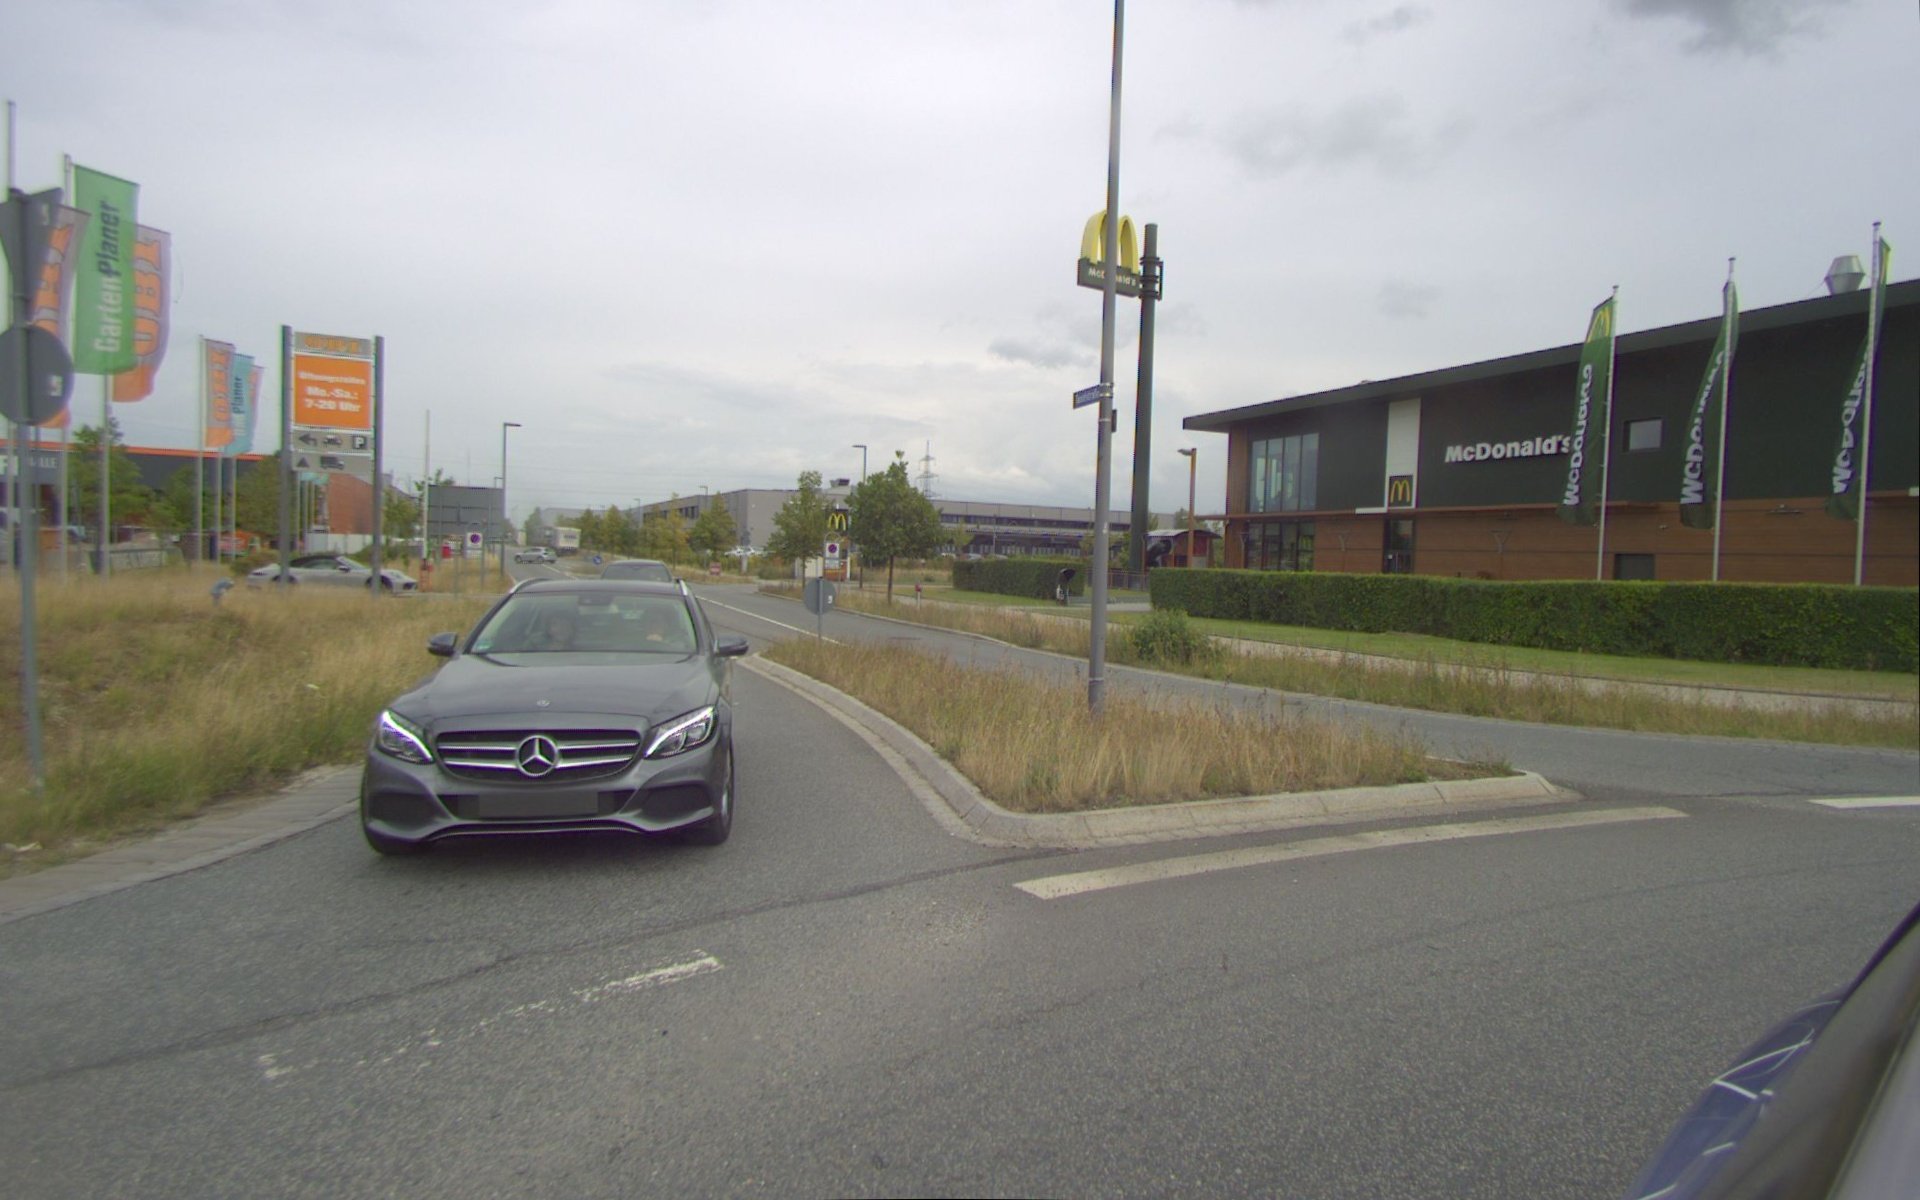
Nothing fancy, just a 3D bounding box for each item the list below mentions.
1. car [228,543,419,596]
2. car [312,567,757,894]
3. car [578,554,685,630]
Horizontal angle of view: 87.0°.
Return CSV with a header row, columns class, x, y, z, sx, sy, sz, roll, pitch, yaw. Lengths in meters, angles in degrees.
class,x,y,z,sx,sy,sz,roll,pitch,yaw
car,-19.193,-0.893,30.784,4.658,1.421,1.747,1,1,-23
car,-2.474,0.519,6.897,1.888,1.421,4.698,0,1,-14
car,-7.254,-0.236,22.745,1.958,1.525,4.693,0,2,-14
